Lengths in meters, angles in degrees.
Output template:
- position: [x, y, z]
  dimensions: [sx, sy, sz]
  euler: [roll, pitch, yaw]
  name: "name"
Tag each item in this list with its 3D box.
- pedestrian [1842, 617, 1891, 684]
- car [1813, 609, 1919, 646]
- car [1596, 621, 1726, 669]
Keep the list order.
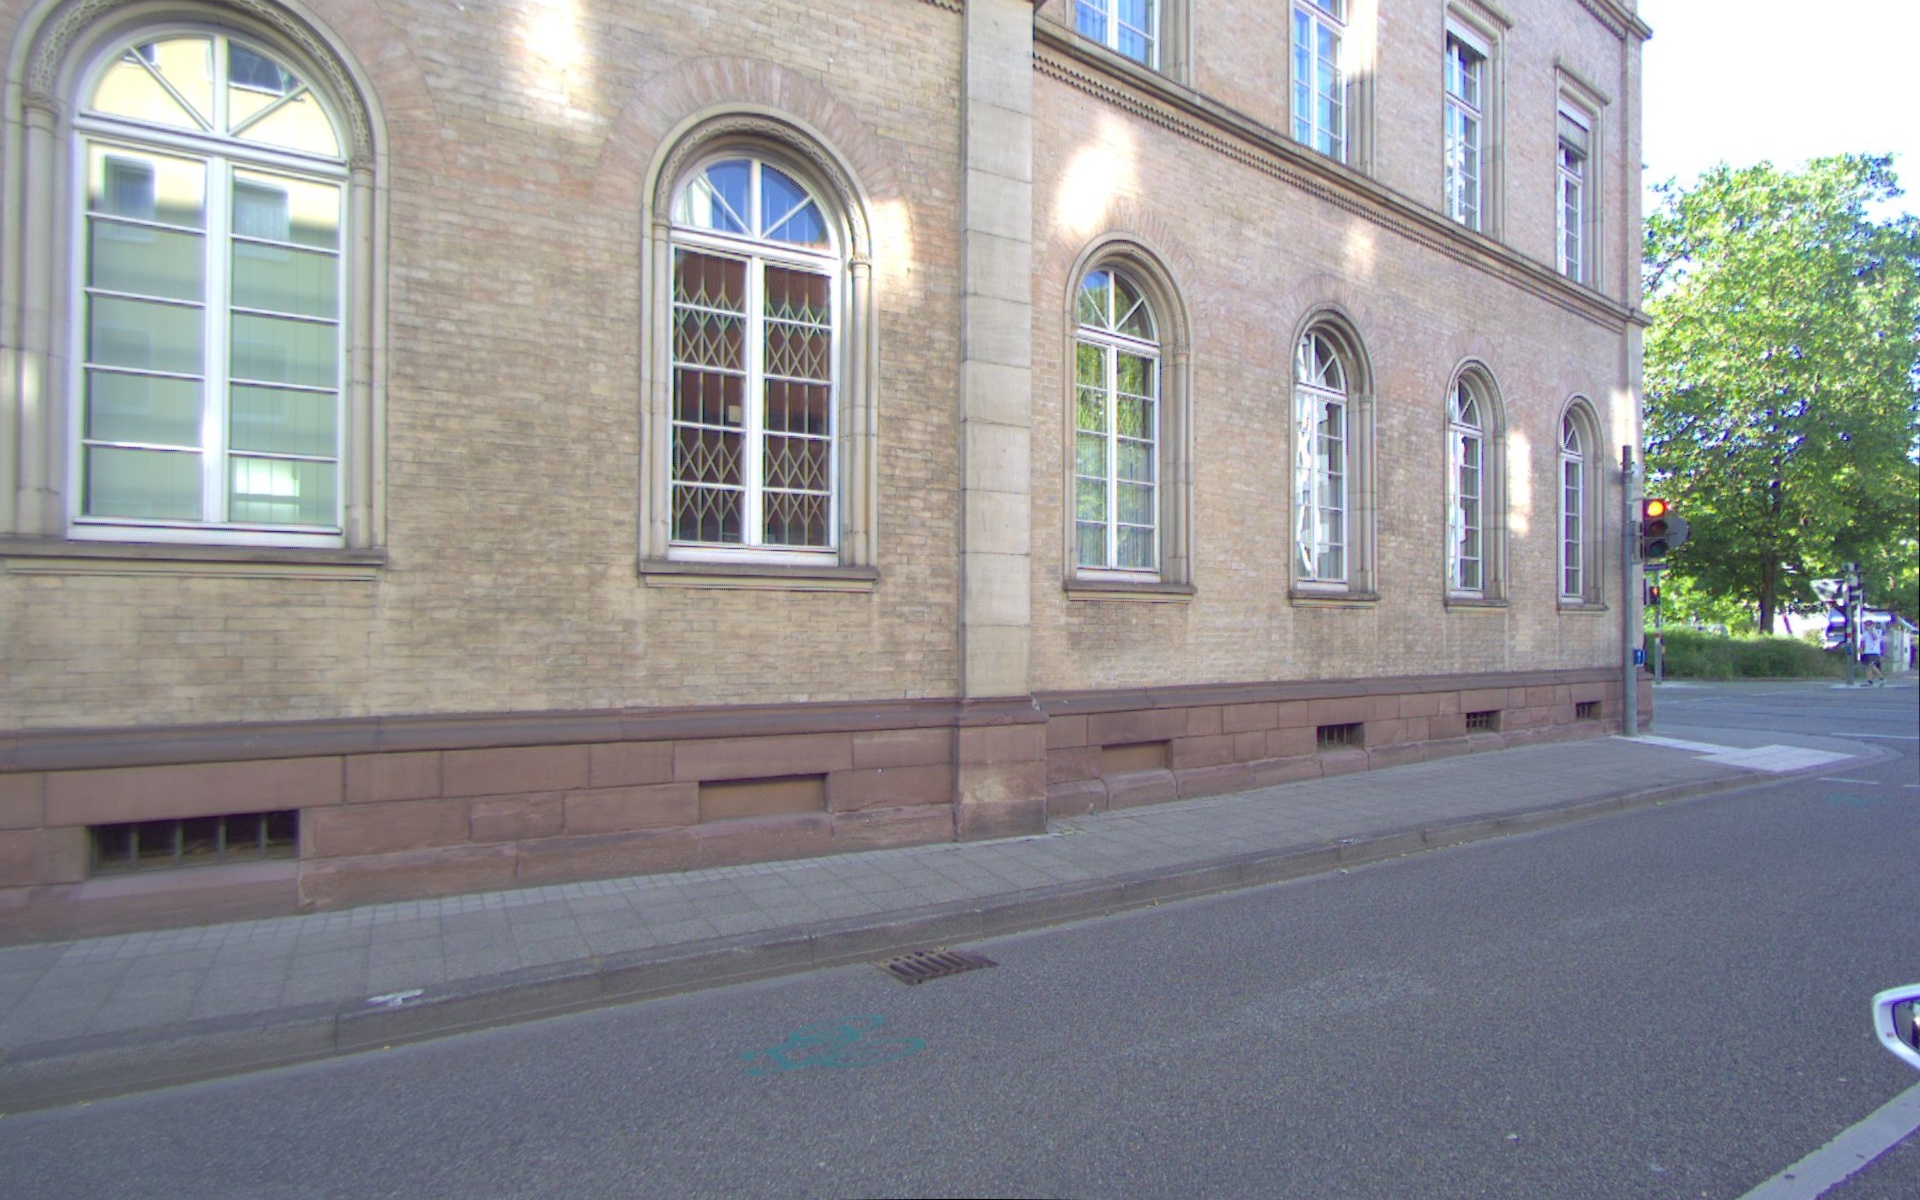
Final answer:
- position: [26.332, 1.455, 29.197]
  dimensions: [0.901, 1.893, 0.741]
  euler: [2, 0, 31]
  name: "pedestrian"
- position: [53.509, 1.607, 59.392]
  dimensions: [1.983, 2.040, 4.409]
  euler: [2, 0, -38]
  name: "car"
- position: [24.387, 1.522, 35.032]
  dimensions: [1.636, 1.476, 3.382]
  euler: [2, 0, -39]
  name: "car"
